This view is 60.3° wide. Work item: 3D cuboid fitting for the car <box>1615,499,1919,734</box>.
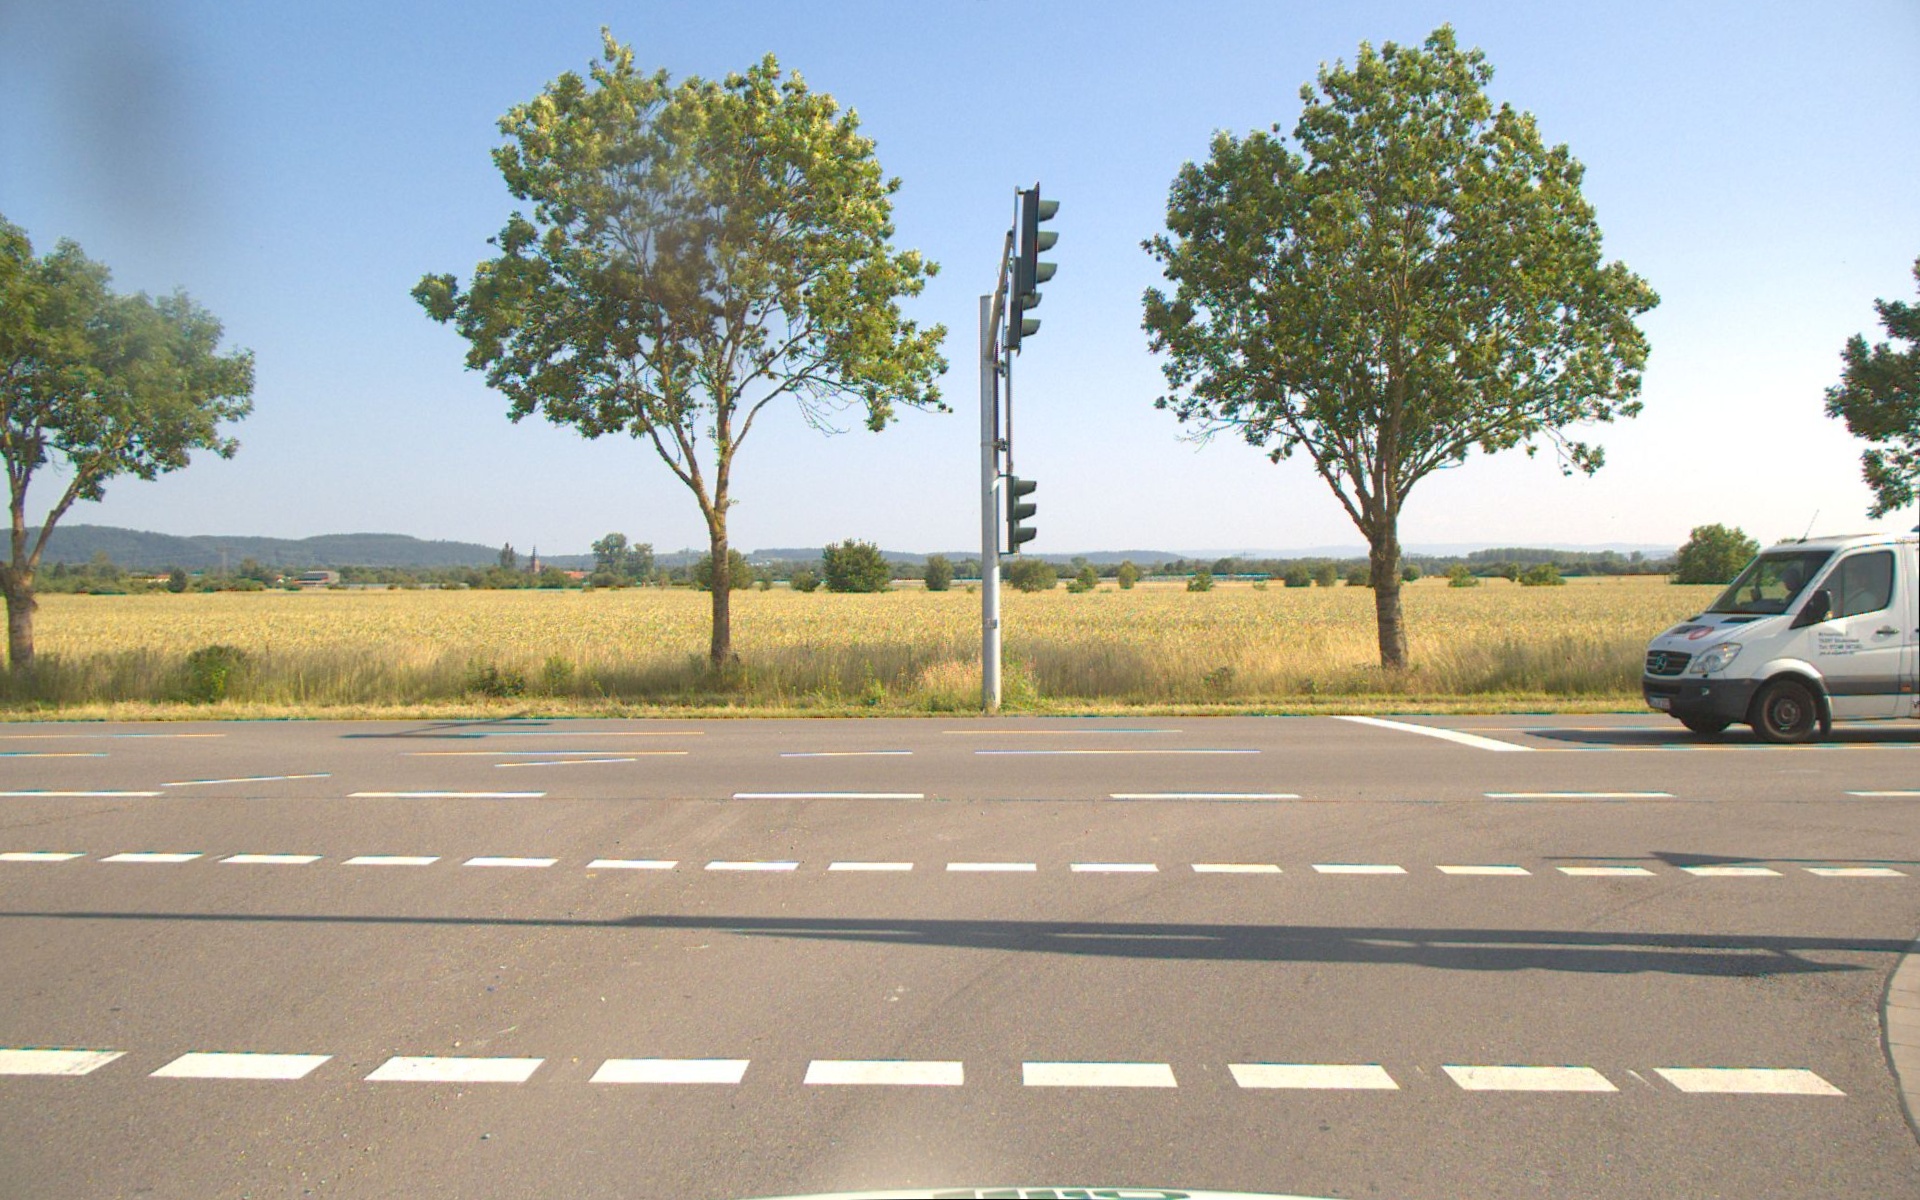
[{"bbox_3d":[10.797,0.197,18.916,5.835,2.536,2.000,0,-1,-1],"label":"car"}]
